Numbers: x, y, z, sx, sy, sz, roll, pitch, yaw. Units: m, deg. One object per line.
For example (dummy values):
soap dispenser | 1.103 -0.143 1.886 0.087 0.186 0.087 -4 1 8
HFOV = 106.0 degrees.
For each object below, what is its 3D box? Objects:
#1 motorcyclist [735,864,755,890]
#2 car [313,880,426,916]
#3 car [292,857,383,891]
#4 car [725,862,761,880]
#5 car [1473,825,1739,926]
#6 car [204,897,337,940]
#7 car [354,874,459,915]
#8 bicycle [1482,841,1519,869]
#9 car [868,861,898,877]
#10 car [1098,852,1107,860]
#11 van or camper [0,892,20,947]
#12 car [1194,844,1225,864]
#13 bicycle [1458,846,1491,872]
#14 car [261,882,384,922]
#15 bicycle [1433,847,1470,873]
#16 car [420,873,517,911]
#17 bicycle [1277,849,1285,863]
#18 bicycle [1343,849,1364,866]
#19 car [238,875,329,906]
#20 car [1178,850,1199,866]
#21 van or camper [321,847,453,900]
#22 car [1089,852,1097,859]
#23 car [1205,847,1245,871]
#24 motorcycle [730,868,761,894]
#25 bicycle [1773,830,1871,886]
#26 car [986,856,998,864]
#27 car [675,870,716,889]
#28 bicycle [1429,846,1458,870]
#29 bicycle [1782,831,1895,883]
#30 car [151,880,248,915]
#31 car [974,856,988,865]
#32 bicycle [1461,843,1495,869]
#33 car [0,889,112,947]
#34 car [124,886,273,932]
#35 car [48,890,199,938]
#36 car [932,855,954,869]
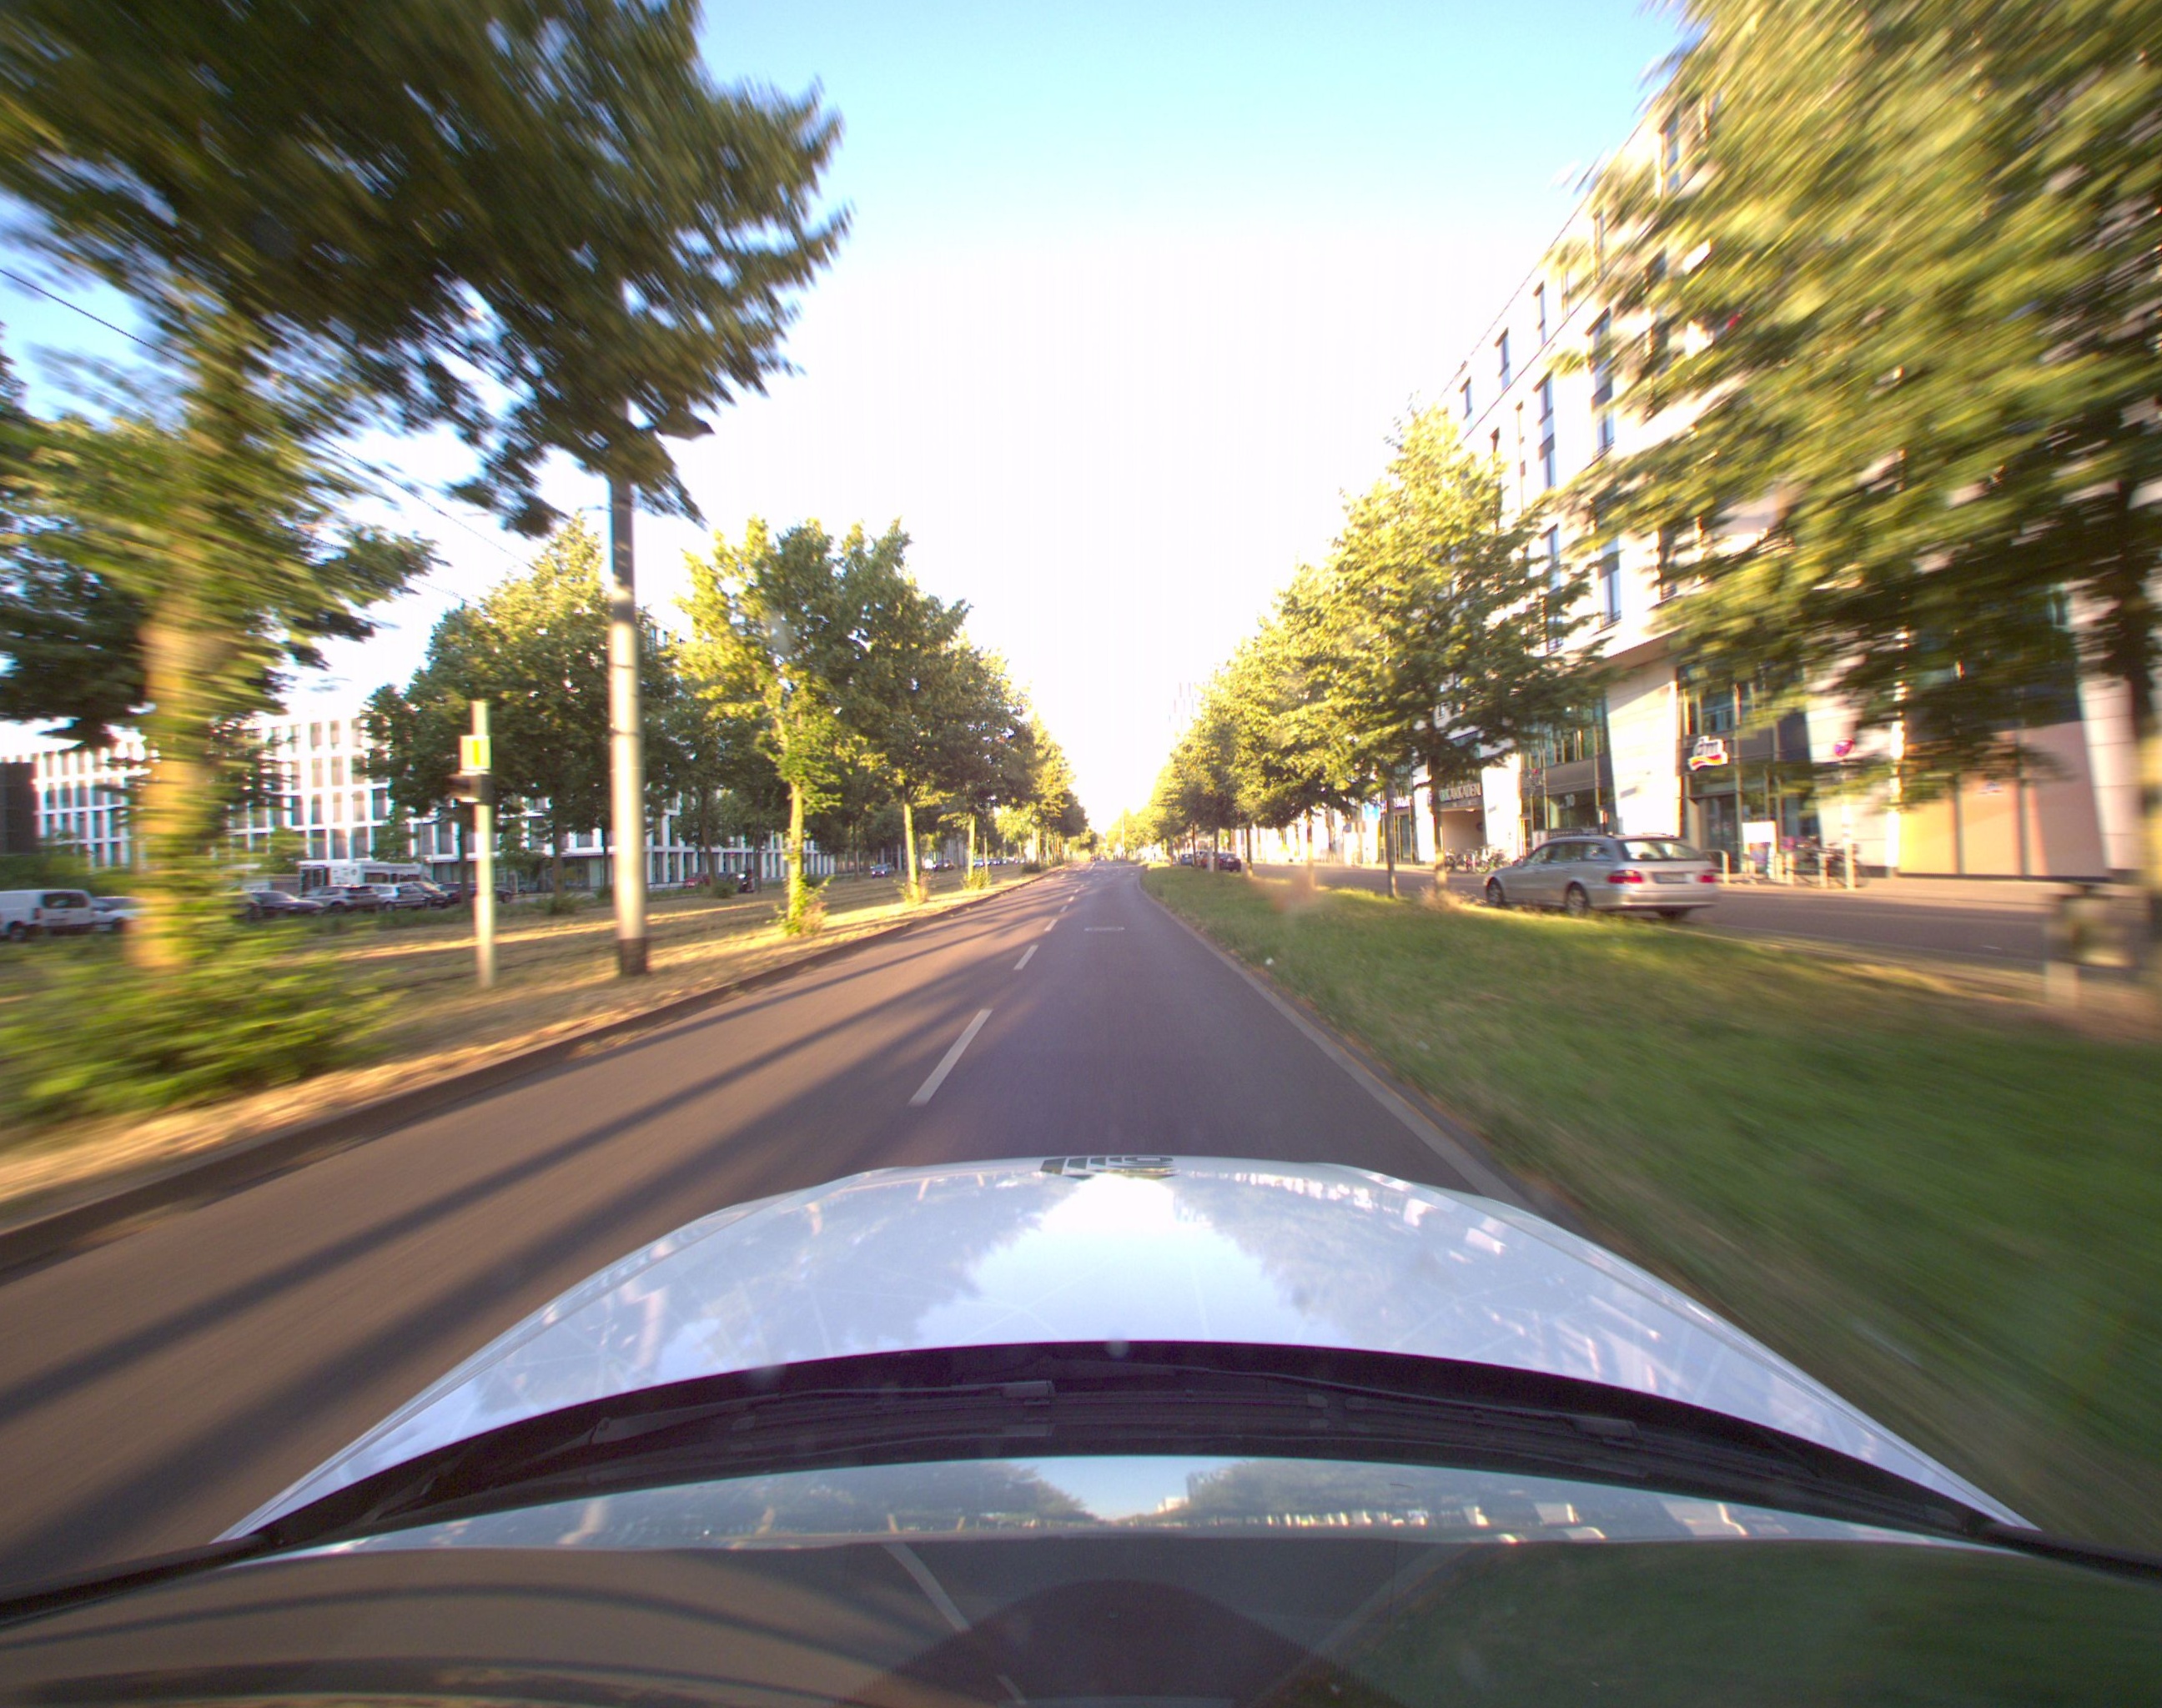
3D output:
motorcyclist | -18.351 1.260 44.523 0.679 1.375 0.804 -2 0 0
car | -36.532 2.240 41.896 3.977 1.640 1.920 -2 0 -2
car | -47.610 1.256 52.275 1.986 2.013 4.002 -2 0 2
car | -33.790 1.678 81.498 1.853 1.581 3.786 -2 0 2
car | 9.275 0.317 15.003 1.802 1.501 4.826 -2 0 1
car | -36.744 2.884 37.011 3.977 1.640 1.920 -2 0 -2
car | -37.049 2.191 44.799 3.977 2.013 1.998 -2 0 -2
bicycle | 16.664 0.023 32.392 0.531 1.061 1.858 -4 0 2
car | -20.388 1.530 83.976 1.911 1.508 4.288 -2 0 1
car | 5.470 0.453 207.384 1.987 2.013 4.000 -2 0 1
van or camper | -37.440 2.248 26.003 3.986 1.791 1.994 -2 0 -9
car | 10.349 0.011 65.984 1.848 1.529 4.483 -1 0 1
bicycle | 16.847 0.190 34.887 0.531 1.061 1.858 -2 0 2
car | -36.667 2.306 39.440 3.977 1.640 1.920 -2 0 -2
bicycle | 16.191 0.254 35.651 0.533 1.061 1.776 -4 0 -8
car | -36.710 2.222 48.989 1.987 2.013 4.932 -2 0 1
bicycle | 17.736 0.189 72.077 0.567 1.124 1.840 -4 0 13
bicycle | 17.229 0.236 51.513 0.650 1.039 2.056 -2 0 2
car | -53.572 2.408 54.816 1.907 1.811 4.005 -2 0 5
car | 11.129 0.412 84.697 1.718 1.529 4.269 -1 0 1
van or camper | -44.499 1.171 52.486 2.697 3.085 6.271 -2 0 5
car | 3.330 0.367 222.733 2.080 2.013 4.000 -2 0 1
car | 10.258 0.334 58.445 1.938 1.549 4.810 -2 0 -1
motorcycle | -18.344 1.471 44.584 0.679 1.336 2.345 -2 0 1
bicycle | 16.470 0.081 18.153 0.536 1.164 1.782 -4 0 2
car | -16.321 1.057 150.054 1.652 1.332 4.741 -2 0 0
car | -33.833 2.220 71.562 1.853 1.581 3.494 -2 0 2
bicycle | 16.904 0.188 37.996 0.531 1.061 1.858 -4 0 2
bicycle | 16.855 0.077 18.180 0.533 1.061 1.850 -4 0 -11
car | -59.251 2.885 54.842 1.986 2.013 4.002 -2 0 2
car | -15.937 1.026 129.665 1.652 1.332 4.529 -2 0 0
bicycle | 17.447 0.084 35.826 0.531 1.061 1.858 -4 0 2
car | -37.726 2.304 29.028 3.972 1.844 2.013 -2 0 1
car | -36.987 2.299 34.231 3.977 1.640 1.920 -2 0 -2
car | -37.247 2.321 31.726 3.964 1.640 1.926 -2 0 8
car | -17.052 0.987 100.851 1.879 1.578 4.181 -2 0 0
